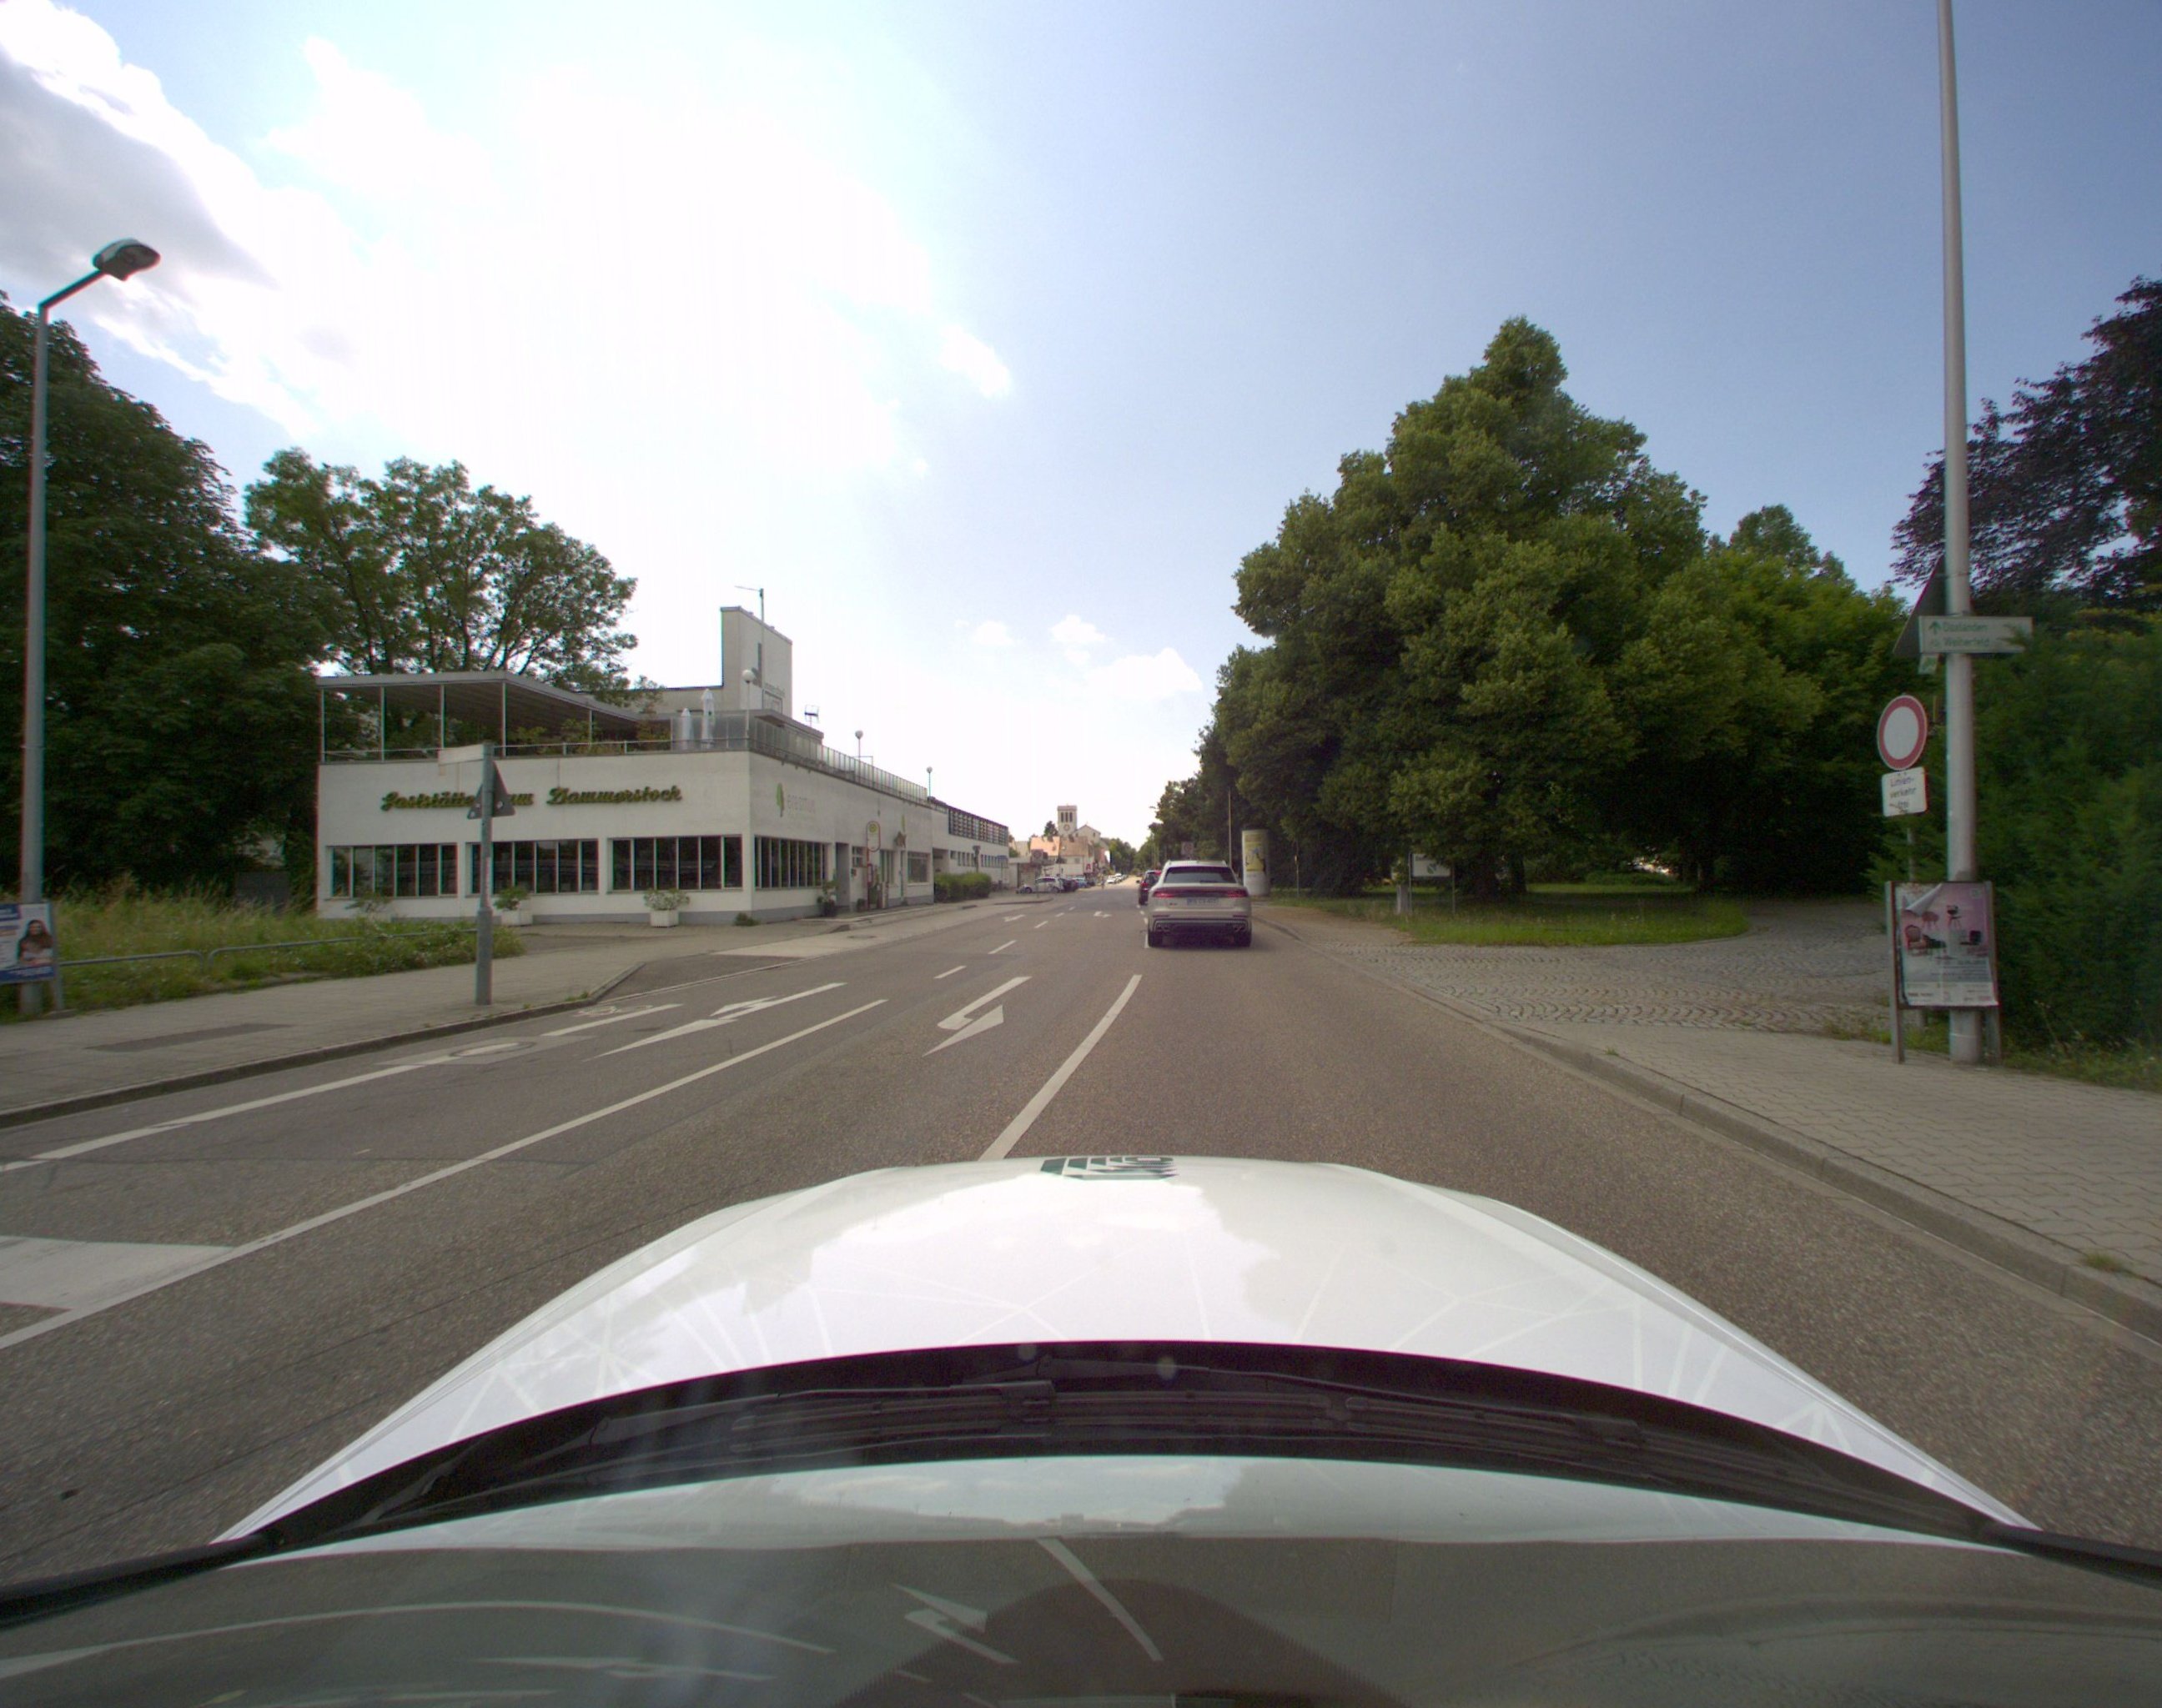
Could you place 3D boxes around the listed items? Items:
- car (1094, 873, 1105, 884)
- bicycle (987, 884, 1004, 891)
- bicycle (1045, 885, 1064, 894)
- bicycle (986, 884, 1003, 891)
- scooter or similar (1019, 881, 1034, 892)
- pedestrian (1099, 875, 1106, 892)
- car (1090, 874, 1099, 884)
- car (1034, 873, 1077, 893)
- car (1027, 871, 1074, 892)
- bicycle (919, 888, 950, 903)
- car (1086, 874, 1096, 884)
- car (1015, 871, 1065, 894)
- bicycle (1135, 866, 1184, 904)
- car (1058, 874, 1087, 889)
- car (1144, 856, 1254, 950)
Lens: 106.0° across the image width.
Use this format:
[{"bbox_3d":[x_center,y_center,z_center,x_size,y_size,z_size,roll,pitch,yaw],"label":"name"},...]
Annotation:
[{"bbox_3d":[3.407,4.598,151.529,1.986,2.014,4.000,-1,-2,1],"label":"car"},{"bbox_3d":[-8.708,3.444,83.237,1.676,0.758,0.566,1,-2,-23],"label":"bicycle"},{"bbox_3d":[-2.392,3.172,72.494,1.665,0.758,0.570,0,-2,-2],"label":"bicycle"},{"bbox_3d":[-8.885,3.471,83.994,1.676,0.758,0.566,1,-2,-23],"label":"bicycle"},{"bbox_3d":[-4.877,2.906,72.799,0.626,0.996,1.978,0,-3,-27],"label":"scooter or similar"},{"bbox_3d":[2.780,3.843,105.635,0.905,2.135,1.015,-1,-2,5],"label":"pedestrian"},{"bbox_3d":[2.920,5.376,174.226,1.986,2.014,4.000,-1,-2,1],"label":"car"},{"bbox_3d":[-2.793,3.192,88.774,4.619,2.014,1.998,-1,-3,-2],"label":"car"},{"bbox_3d":[-2.999,2.744,80.909,4.619,2.014,1.998,-1,-3,-2],"label":"car"},{"bbox_3d":[-8.113,2.303,45.193,1.672,0.757,0.409,-1,-2,-14],"label":"bicycle"},{"bbox_3d":[1.973,4.944,161.328,1.986,2.014,4.000,-1,-2,1],"label":"car"},{"bbox_3d":[-3.796,2.691,76.627,4.619,2.014,1.998,-1,-3,-2],"label":"car"},{"bbox_3d":[3.723,1.484,39.355,1.987,1.675,4.208,-1,-2,1],"label":"bicycle"},{"bbox_3d":[-1.198,3.929,115.551,3.977,2.014,1.998,-2,-2,-2],"label":"car"},{"bbox_3d":[2.505,0.932,17.124,1.970,1.684,4.585,0,-1,9],"label":"car"}]
